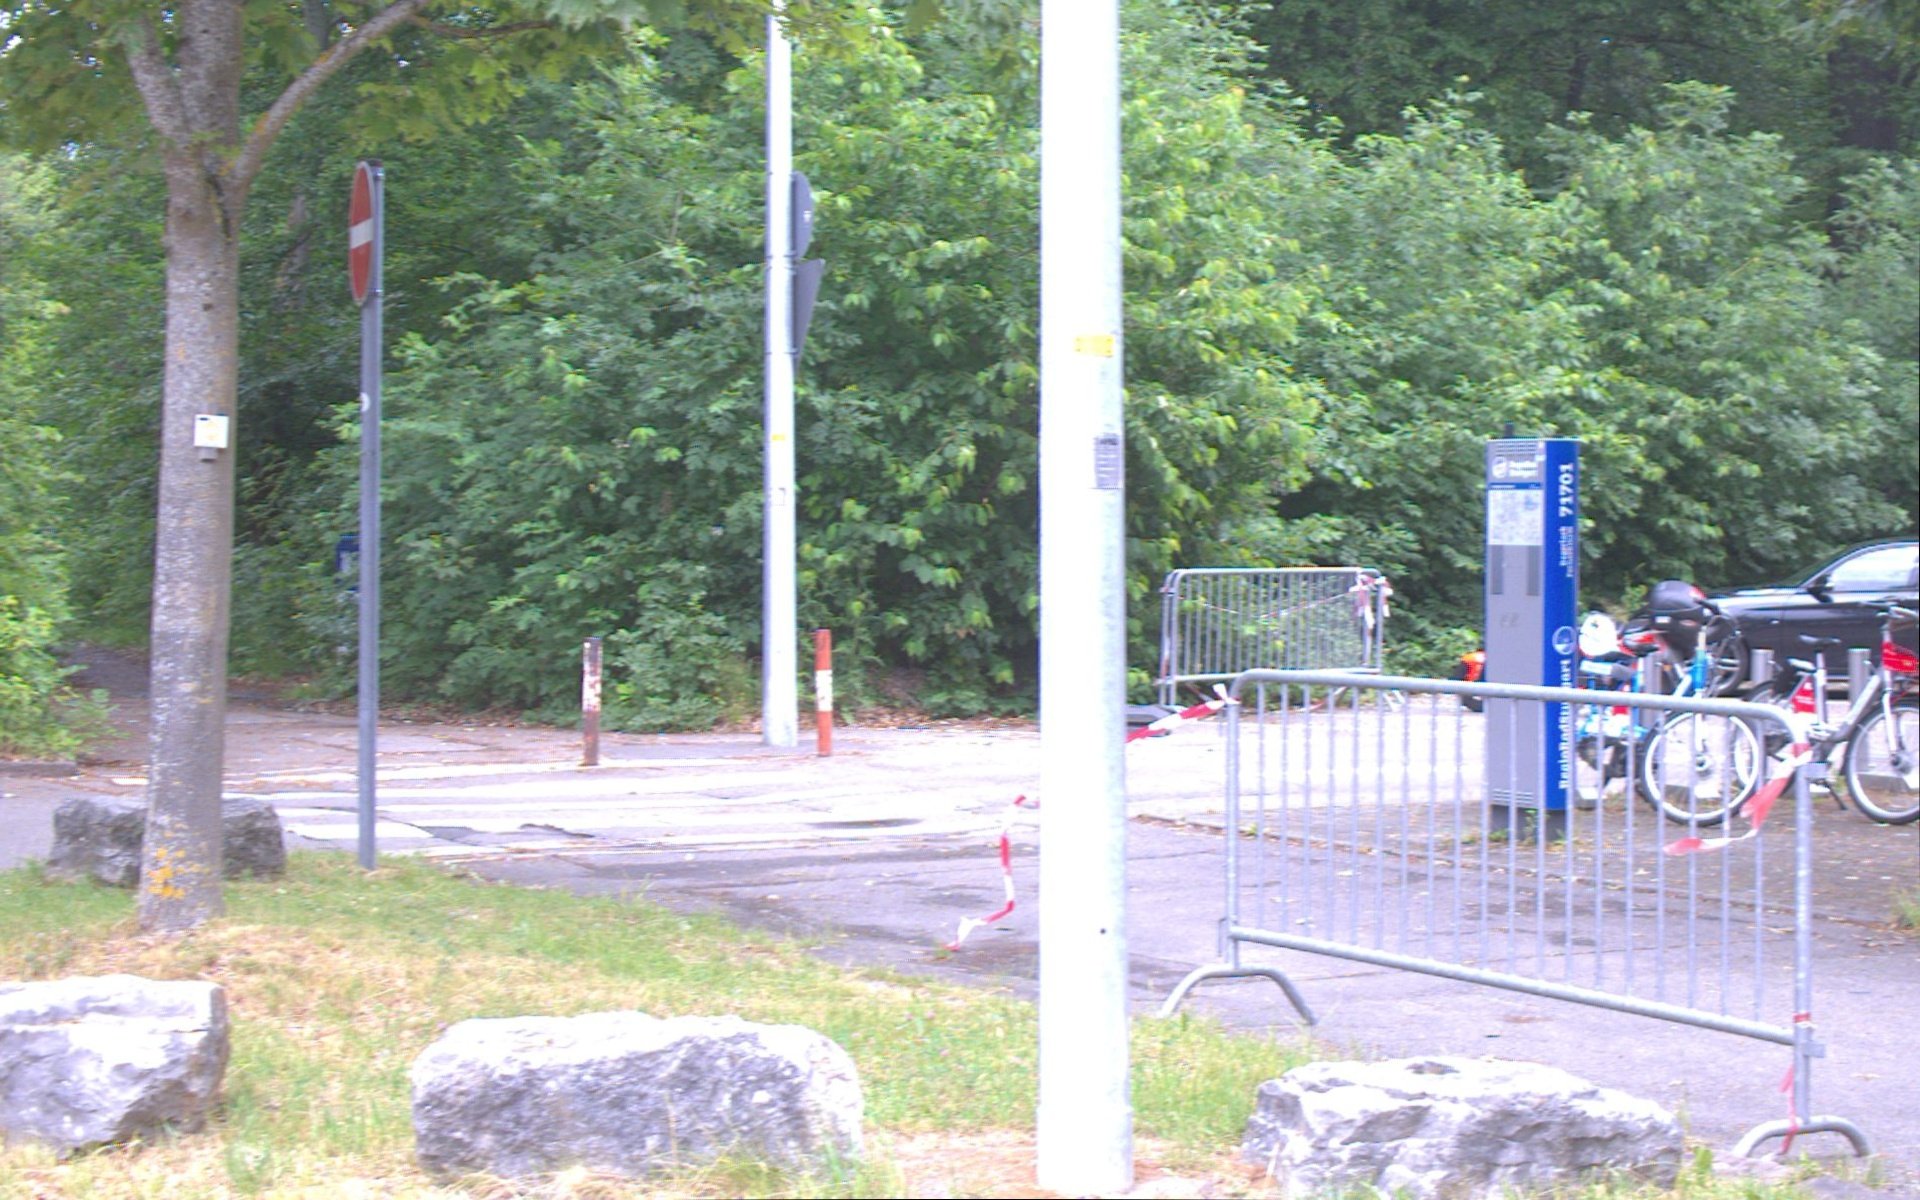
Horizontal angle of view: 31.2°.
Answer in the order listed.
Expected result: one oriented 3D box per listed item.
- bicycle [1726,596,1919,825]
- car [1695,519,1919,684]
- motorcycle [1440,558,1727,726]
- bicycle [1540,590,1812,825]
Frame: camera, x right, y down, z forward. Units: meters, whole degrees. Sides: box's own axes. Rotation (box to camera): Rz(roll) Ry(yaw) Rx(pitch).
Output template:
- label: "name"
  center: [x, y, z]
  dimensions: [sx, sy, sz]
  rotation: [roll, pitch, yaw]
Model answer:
- label: "bicycle"
  center: [4.777, 0.562, 18.115]
  dimensions: [0.504, 1.107, 1.685]
  rotation: [0, 2, -25]
- label: "car"
  center: [8.499, 0.016, 29.936]
  dimensions: [3.990, 1.371, 1.739]
  rotation: [1, 1, 15]
- label: "motorcycle"
  center: [4.790, 0.303, 26.427]
  dimensions: [2.025, 1.203, 0.730]
  rotation: [2, 1, 25]
- label: "bicycle"
  center: [3.671, 0.530, 17.763]
  dimensions: [0.481, 1.107, 1.698]
  rotation: [1, 1, -22]
